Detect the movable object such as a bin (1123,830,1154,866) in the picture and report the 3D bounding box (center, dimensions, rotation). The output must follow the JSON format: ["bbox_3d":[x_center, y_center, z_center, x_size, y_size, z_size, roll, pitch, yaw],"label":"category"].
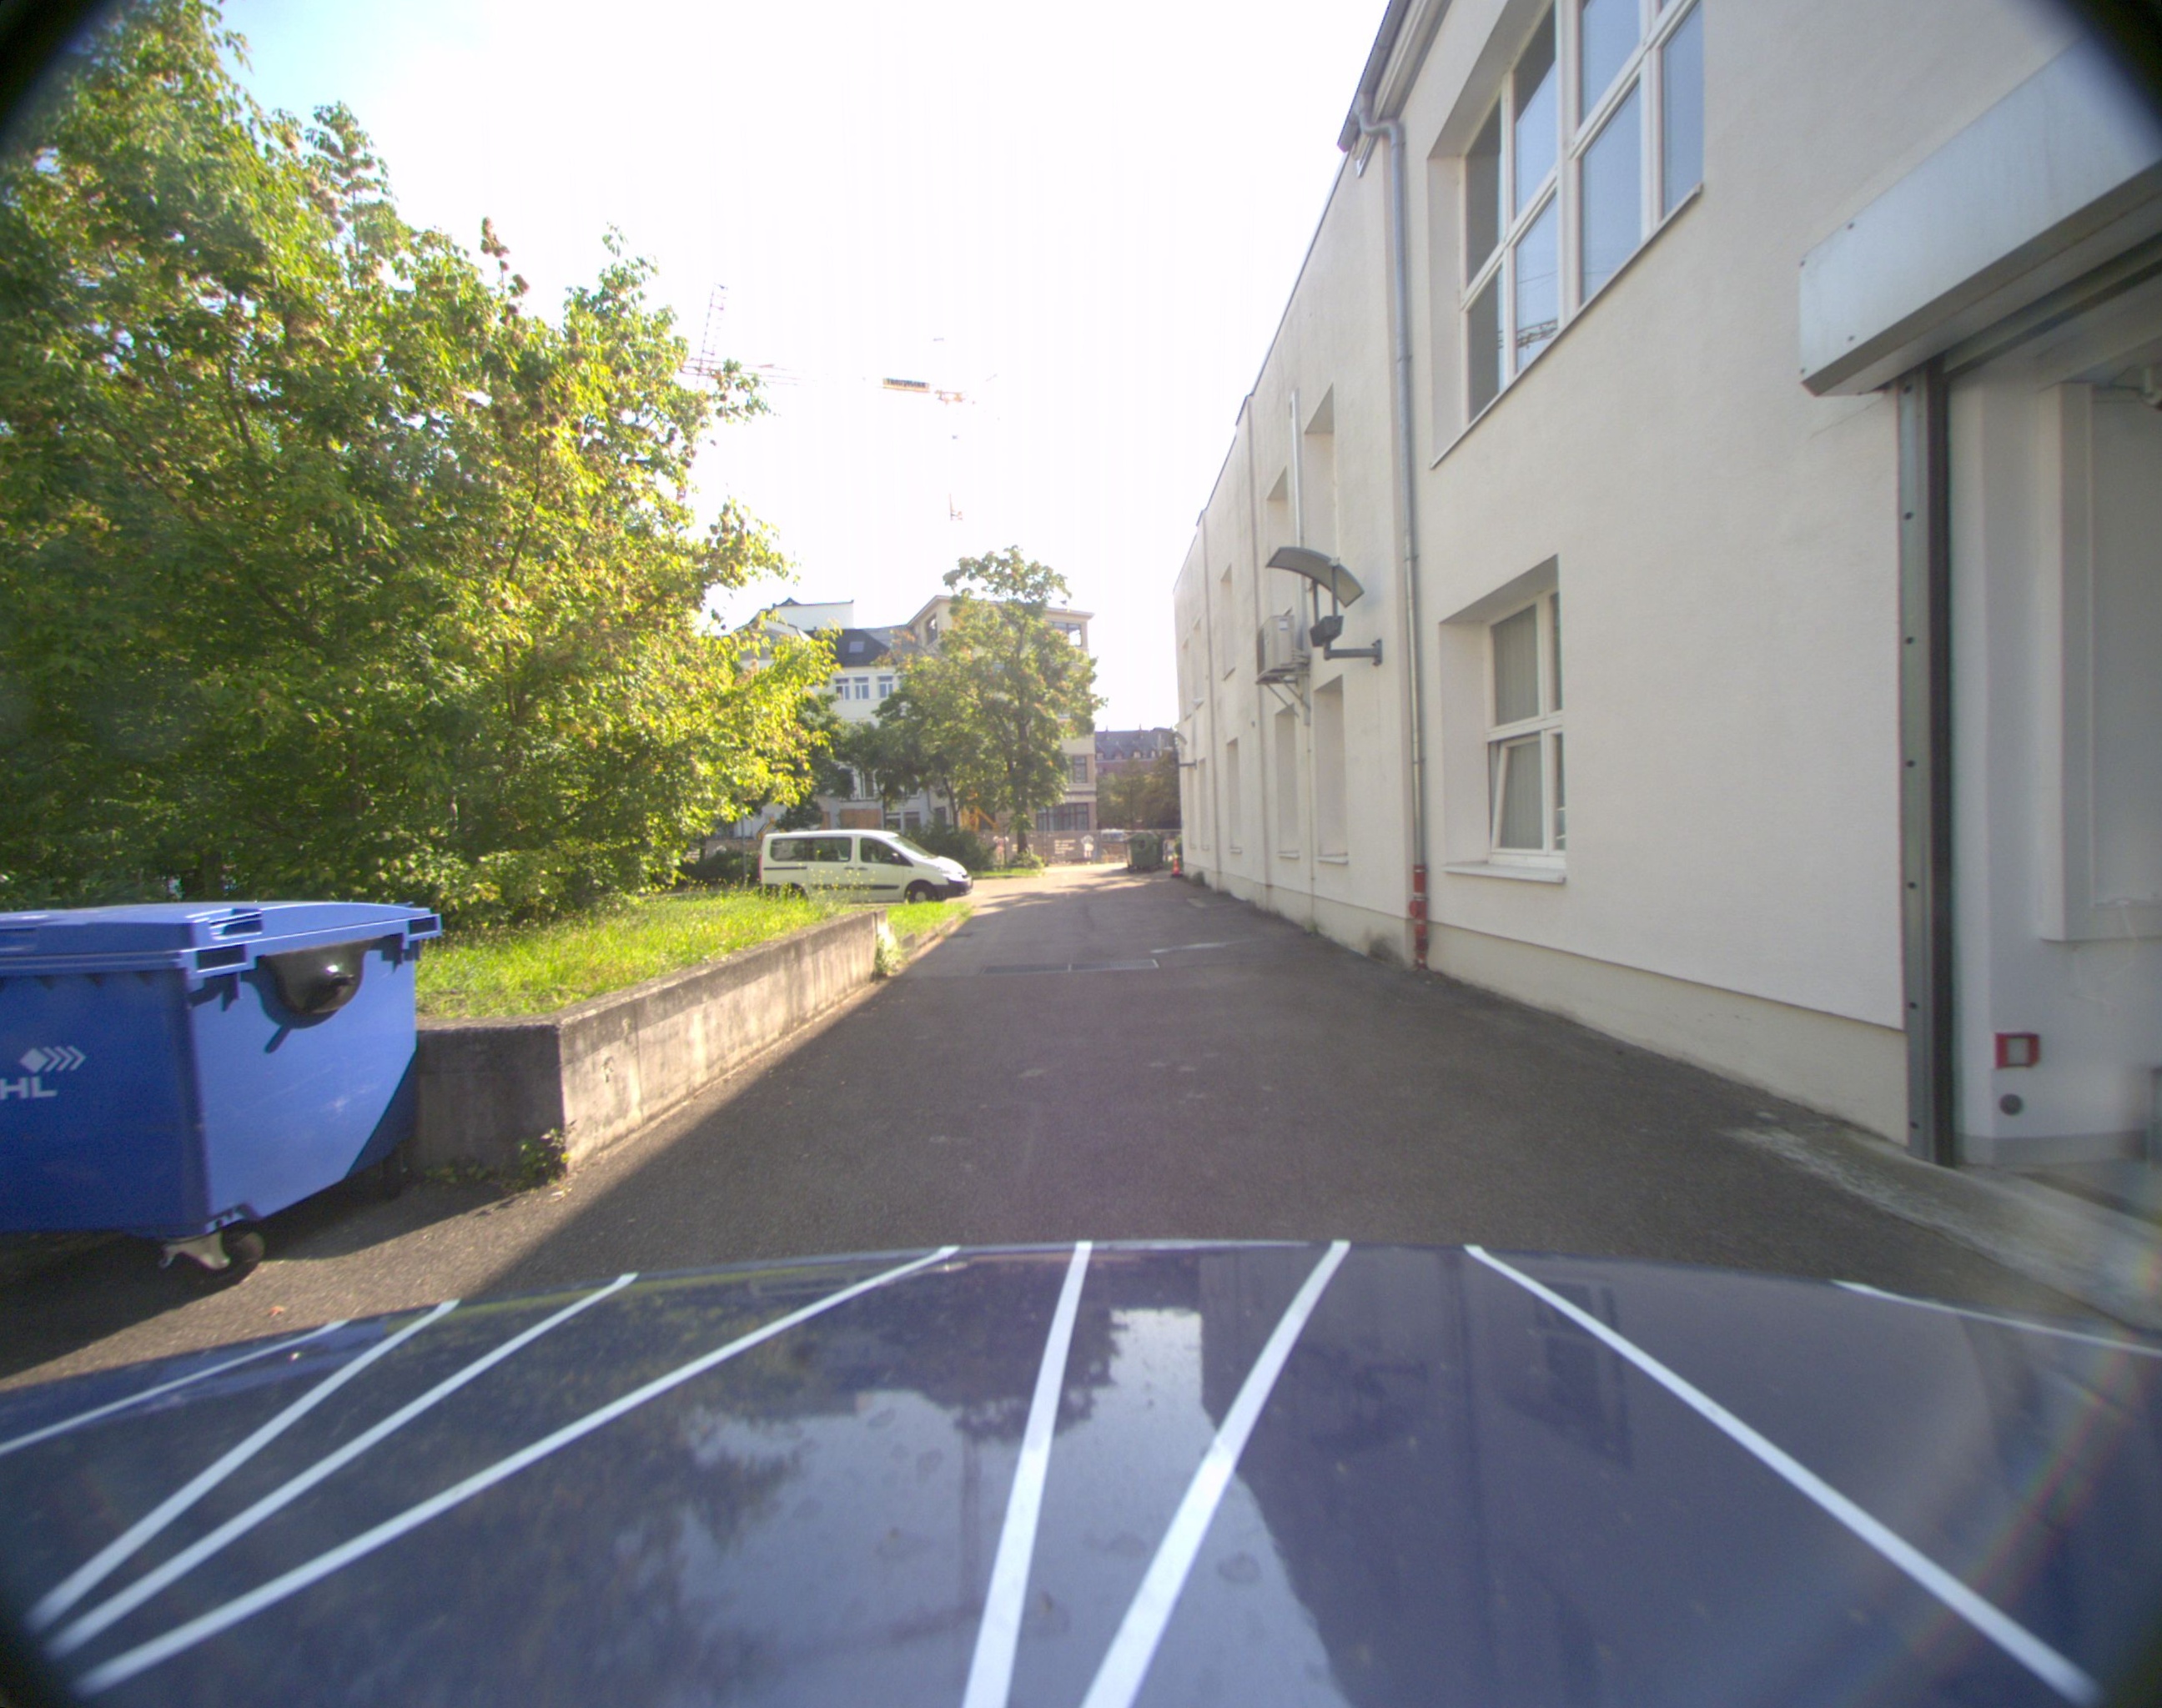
[{"bbox_3d":[2.521,-0.284,33.603,1.037,1.489,1.106,-4,3,-11],"label":"movable object such as a bin"}]

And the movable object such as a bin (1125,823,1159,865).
[{"bbox_3d":[2.571,-0.449,32.196,1.184,1.696,1.376,-3,3,-4],"label":"movable object such as a bin"}]

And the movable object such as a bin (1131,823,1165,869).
[{"bbox_3d":[2.567,-0.336,29.394,1.183,1.696,1.394,-3,3,4],"label":"movable object such as a bin"}]

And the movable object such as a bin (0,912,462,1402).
[{"bbox_3d":[-3.447,0.975,2.801,1.313,1.333,1.099,-3,3,-3],"label":"movable object such as a bin"}]

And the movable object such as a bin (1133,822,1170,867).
[{"bbox_3d":[2.843,-0.407,30.801,1.184,1.696,1.376,-3,3,-4],"label":"movable object such as a bin"}]

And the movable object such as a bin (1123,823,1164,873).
[{"bbox_3d":[2.257,-0.247,27.595,1.184,1.696,1.376,-3,3,-4],"label":"movable object such as a bin"}]

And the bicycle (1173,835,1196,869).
[{"bbox_3d":[3.954,-0.083,29.136,0.477,1.206,2.007,-3,2,-2],"label":"bicycle"}]

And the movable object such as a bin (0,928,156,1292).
[{"bbox_3d":[-4.780,1.044,2.809,1.230,1.333,1.076,-3,3,-5],"label":"movable object such as a bin"}]

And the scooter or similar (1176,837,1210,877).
[{"bbox_3d":[3.653,0.087,24.873,0.386,1.255,1.492,-4,3,-20],"label":"scooter or similar"}]

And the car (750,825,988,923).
[{"bbox_3d":[-4.928,0.415,18.186,4.969,1.910,2.043,-3,3,2],"label":"car"}]
